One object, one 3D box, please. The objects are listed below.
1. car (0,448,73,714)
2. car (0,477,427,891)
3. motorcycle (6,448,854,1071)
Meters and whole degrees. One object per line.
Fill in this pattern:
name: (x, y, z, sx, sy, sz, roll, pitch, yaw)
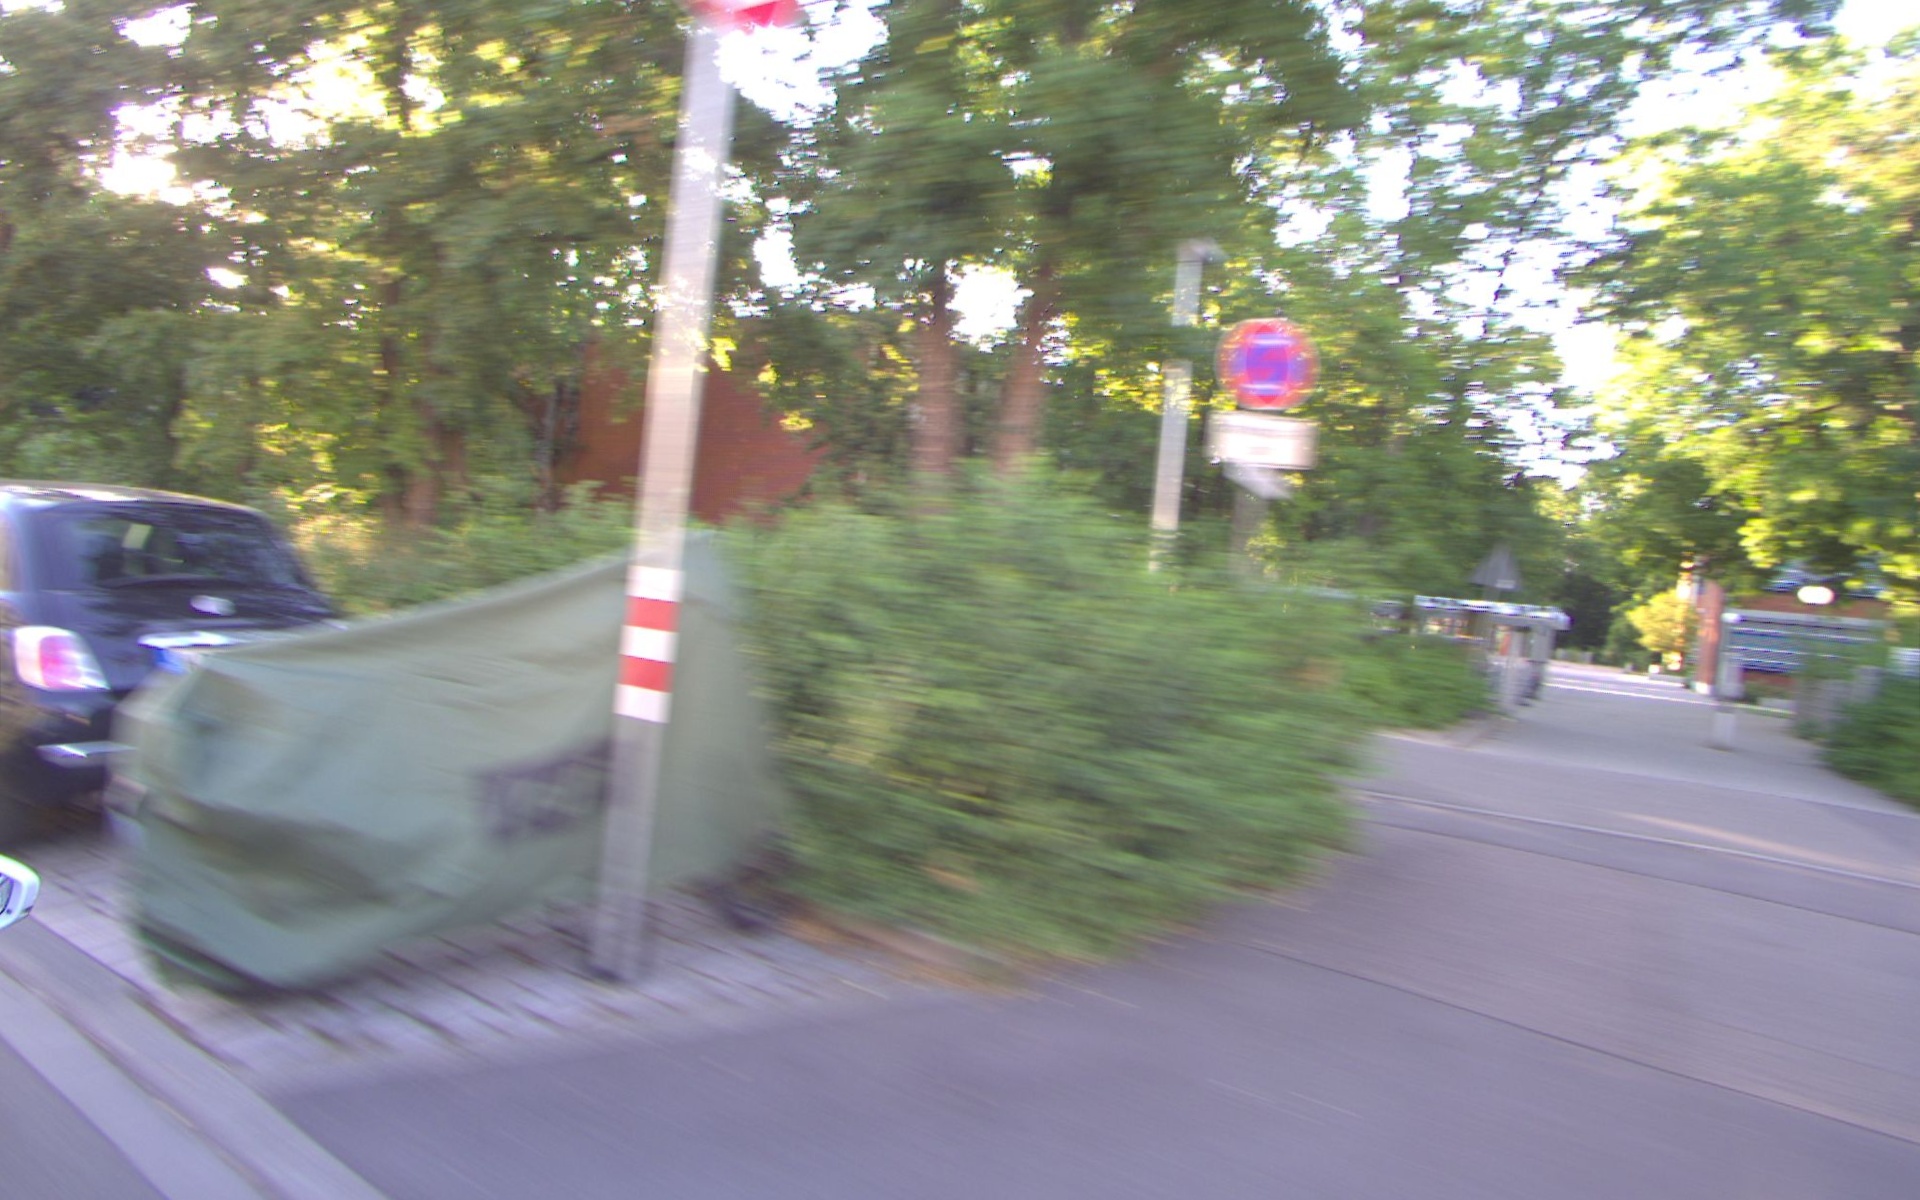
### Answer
car: (-8.700, -0.356, 7.102, 4.582, 1.772, 1.925, 6, 2, 25)
car: (-4.592, 0.173, 5.106, 3.359, 1.506, 1.622, 6, 2, 27)
motorcycle: (-1.681, 0.453, 3.578, 2.276, 1.565, 1.030, 5, 2, -35)
